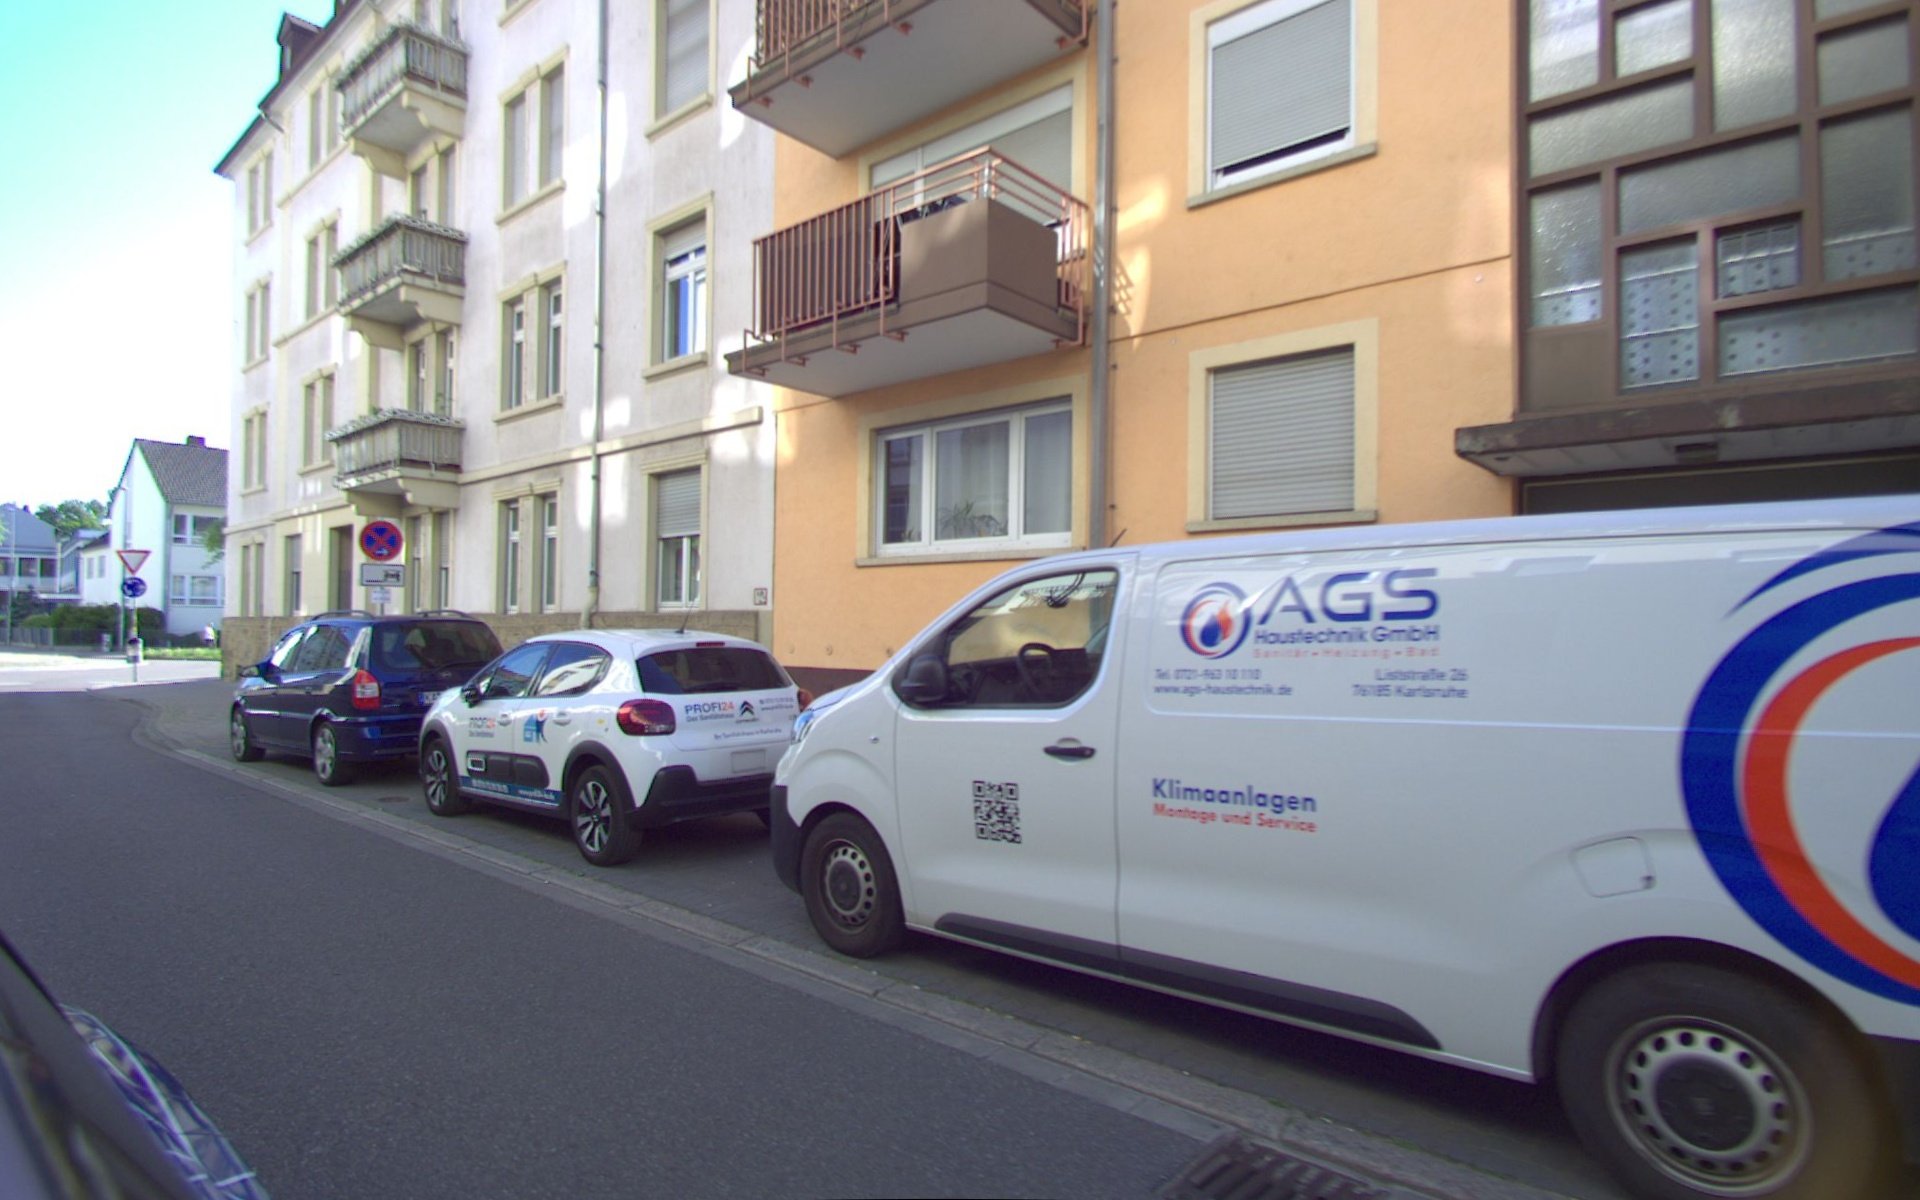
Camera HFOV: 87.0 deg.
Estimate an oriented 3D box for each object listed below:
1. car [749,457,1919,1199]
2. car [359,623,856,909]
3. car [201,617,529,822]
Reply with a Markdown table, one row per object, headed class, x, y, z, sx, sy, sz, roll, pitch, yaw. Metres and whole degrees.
| class | x | y | z | sx | sy | sz | roll | pitch | yaw |
| --- | --- | --- | --- | --- | --- | --- | --- | --- | --- |
| car | 1.619 | 0.719 | 3.908 | 5.306 | 1.940 | 1.955 | -2 | -3 | 41 |
| car | -2.915 | 1.024 | 7.877 | 4.292 | 1.633 | 1.744 | -2 | -3 | 41 |
| car | -6.531 | 1.120 | 10.913 | 4.291 | 1.784 | 1.744 | -2 | -3 | 41 |
